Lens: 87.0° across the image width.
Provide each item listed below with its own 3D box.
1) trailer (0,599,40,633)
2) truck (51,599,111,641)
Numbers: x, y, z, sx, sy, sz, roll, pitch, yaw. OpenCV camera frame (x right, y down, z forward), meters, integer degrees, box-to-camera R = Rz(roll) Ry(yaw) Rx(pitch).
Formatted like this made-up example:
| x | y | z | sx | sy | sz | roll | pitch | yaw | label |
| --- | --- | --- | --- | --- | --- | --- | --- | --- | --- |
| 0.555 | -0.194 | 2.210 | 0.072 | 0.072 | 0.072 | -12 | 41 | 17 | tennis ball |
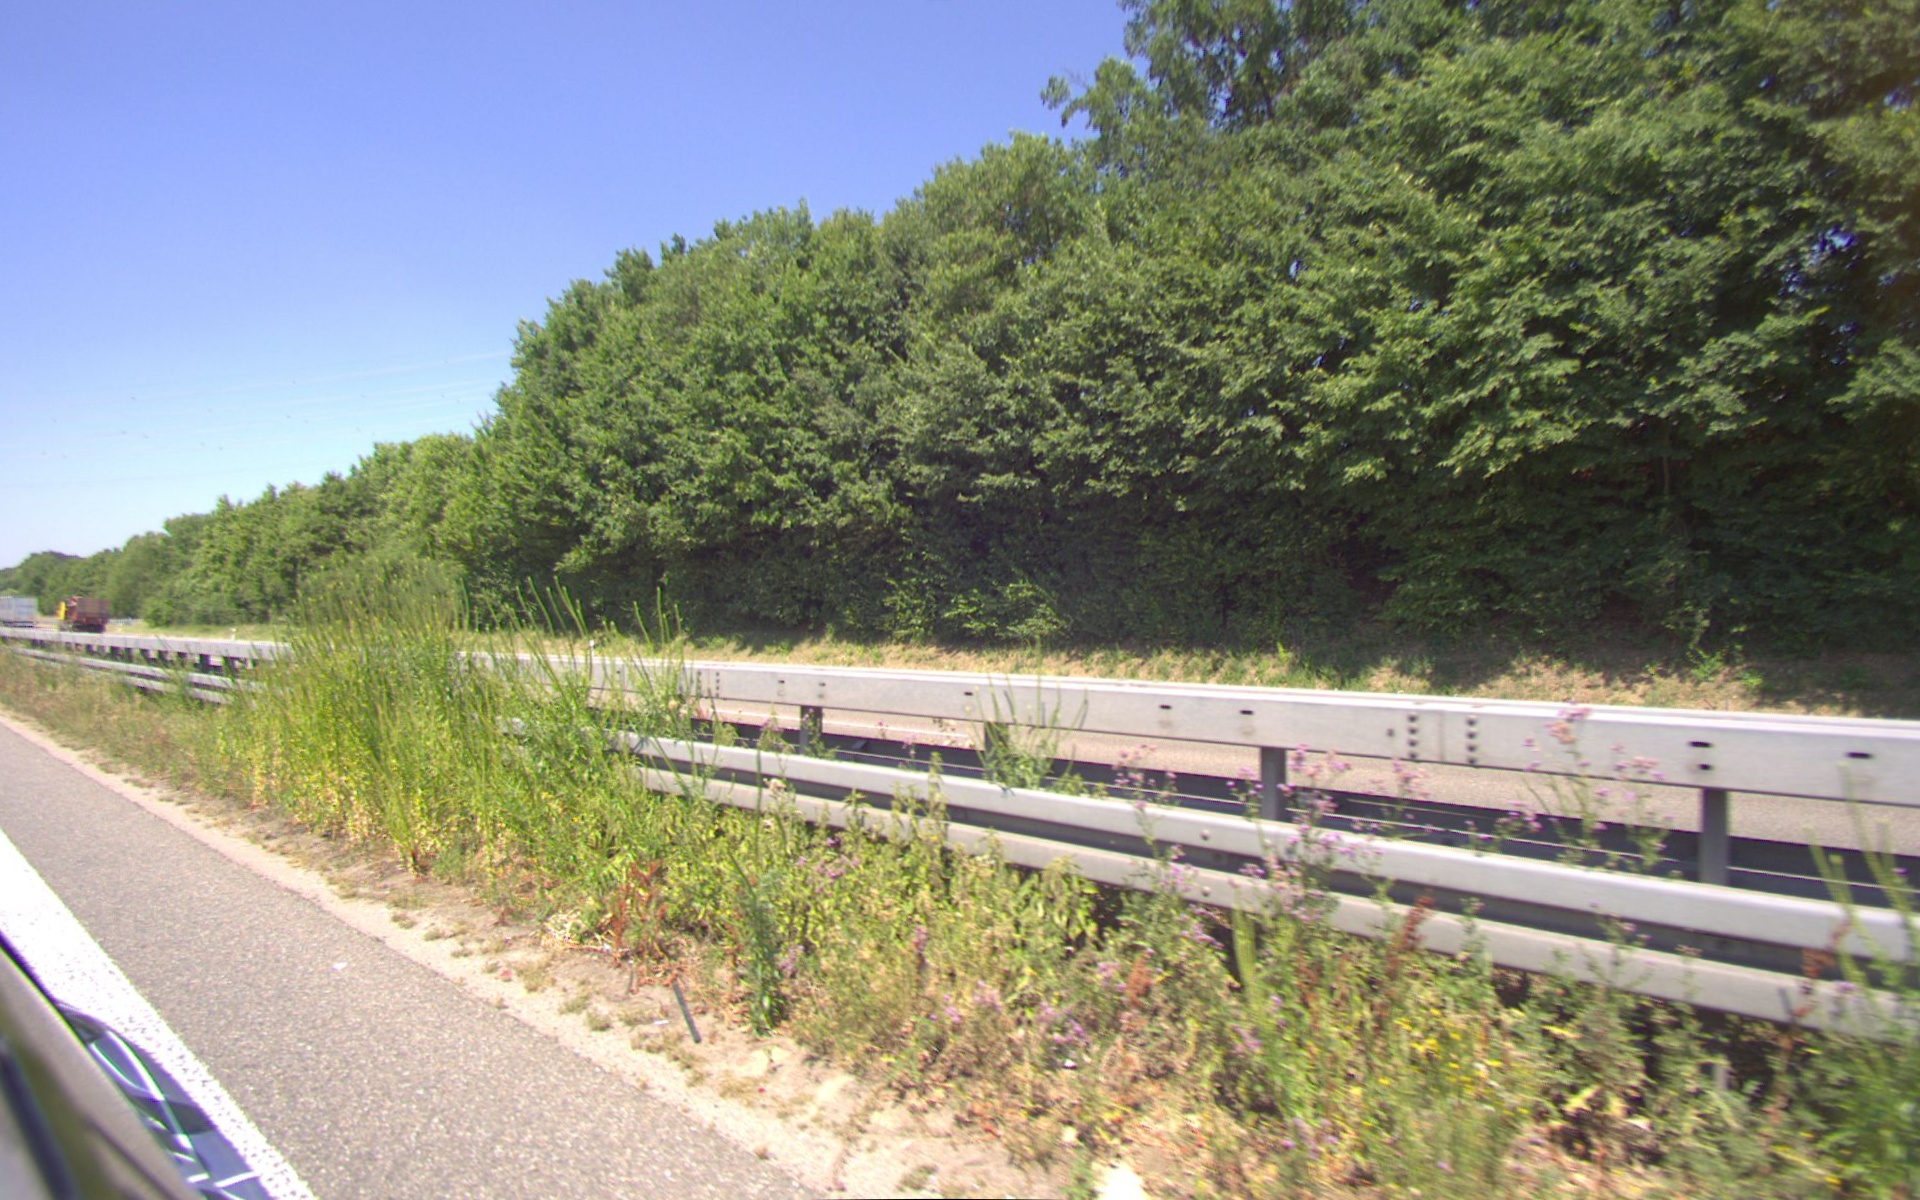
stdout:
| x | y | z | sx | sy | sz | roll | pitch | yaw | label |
| --- | --- | --- | --- | --- | --- | --- | --- | --- | --- |
| -125.932 | 2.116 | 135.281 | 7.964 | 4.311 | 3.418 | -1 | 1 | 40 | trailer |
| -83.247 | 1.805 | 95.794 | 11.152 | 3.766 | 2.754 | 0 | 1 | 41 | truck |
